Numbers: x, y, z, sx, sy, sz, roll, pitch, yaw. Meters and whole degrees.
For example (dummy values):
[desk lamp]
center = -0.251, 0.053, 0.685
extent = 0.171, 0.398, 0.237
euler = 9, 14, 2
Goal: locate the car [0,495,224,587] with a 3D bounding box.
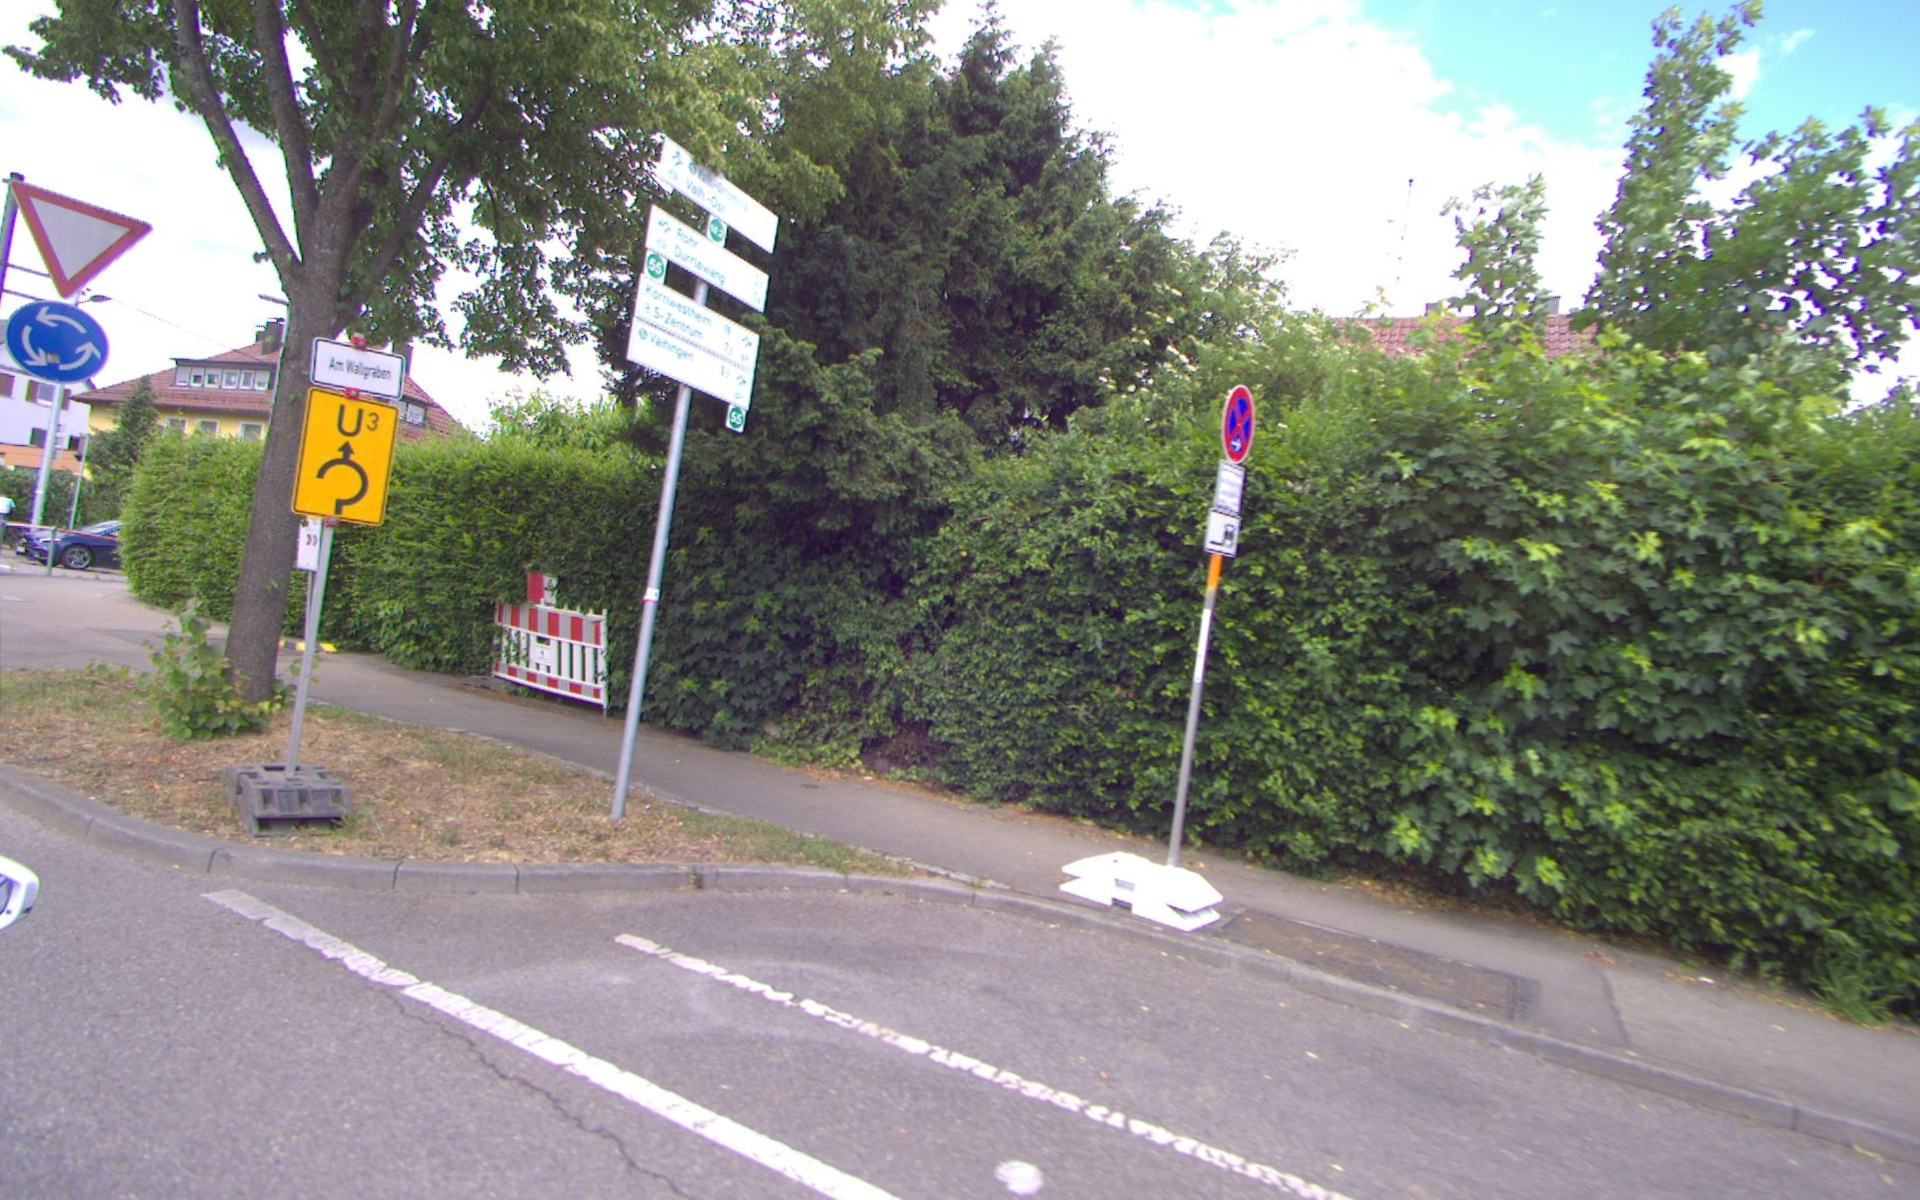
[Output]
[car]
center = -23.320, -1.560, 27.772
extent = 1.622, 1.679, 4.412
euler = 7, -3, 29

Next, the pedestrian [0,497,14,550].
[pedestrian]
center = -28.703, -2.303, 30.010
extent = 0.488, 1.551, 0.479
euler = 9, -1, -39
